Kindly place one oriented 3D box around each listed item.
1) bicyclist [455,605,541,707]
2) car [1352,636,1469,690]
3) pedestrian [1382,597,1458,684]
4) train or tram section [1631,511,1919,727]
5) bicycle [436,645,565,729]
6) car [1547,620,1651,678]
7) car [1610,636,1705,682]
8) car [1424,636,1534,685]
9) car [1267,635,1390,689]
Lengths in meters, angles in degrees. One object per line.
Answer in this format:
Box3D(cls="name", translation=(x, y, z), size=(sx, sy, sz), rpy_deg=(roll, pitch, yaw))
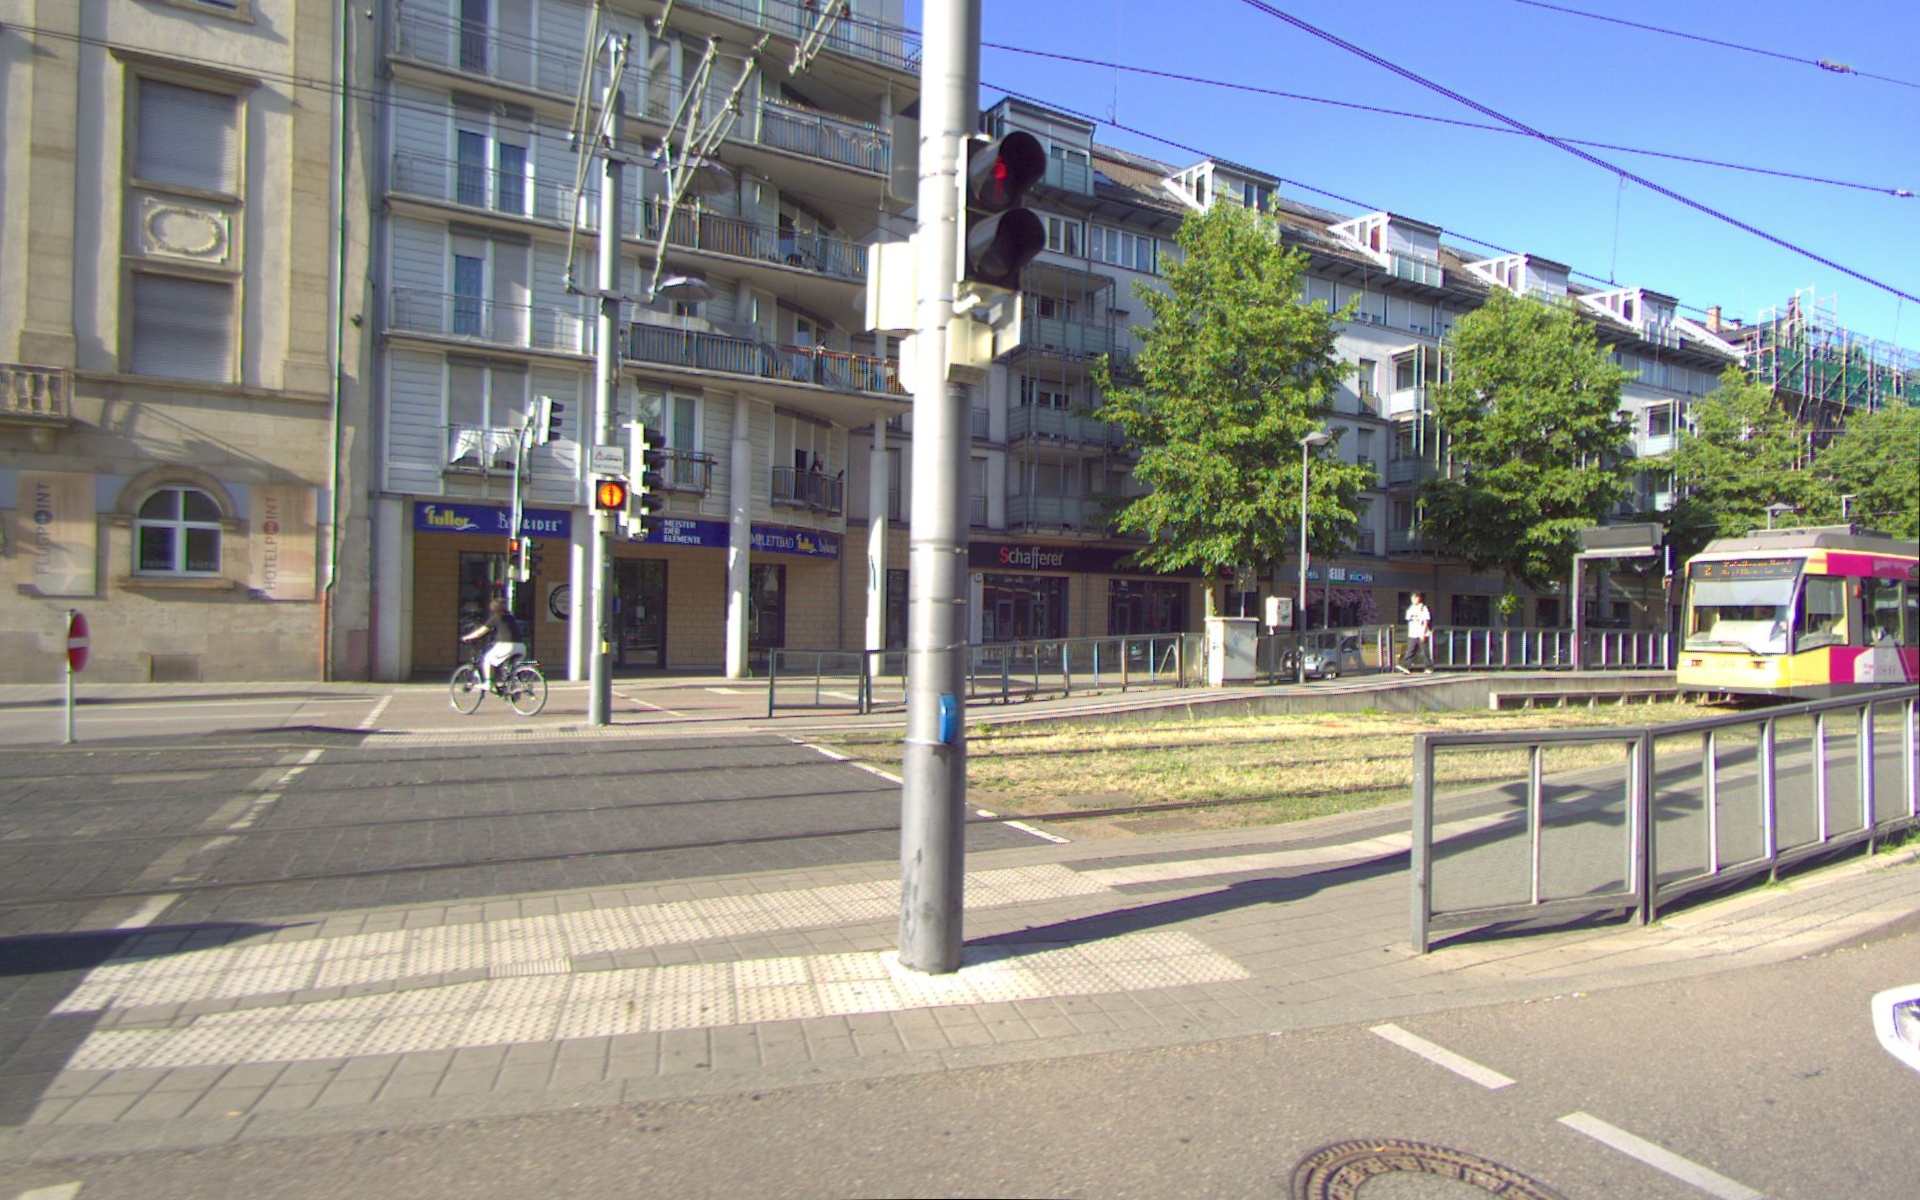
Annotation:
Box3D(cls="bicyclist", translation=(-6.616, 0.783, 14.390), size=(0.999, 1.390, 0.535), rpy_deg=(2, 0, 20))
Box3D(cls="car", translation=(15.871, 2.194, 35.386), size=(3.738, 1.699, 1.799), rpy_deg=(2, 1, -28))
Box3D(cls="pedestrian", translation=(8.874, 0.770, 19.381), size=(0.947, 1.602, 0.895), rpy_deg=(2, 1, -30))
Box3D(cls="train or tram section", translation=(20.274, 0.556, 21.927), size=(14.376, 3.724, 2.859), rpy_deg=(2, -1, -28))
Box3D(cls="bicycle", translation=(-6.573, 1.225, 14.361), size=(1.789, 1.068, 0.535), rpy_deg=(2, 0, 20))
Box3D(cls="car", translation=(25.954, 1.980, 40.774), size=(3.738, 2.195, 1.932), rpy_deg=(2, 1, -28))
Box3D(cls="car", translation=(29.674, 2.492, 42.732), size=(3.738, 1.752, 1.799), rpy_deg=(2, 1, -28))
Box3D(cls="car", translation=(19.261, 2.231, 37.251), size=(3.738, 1.657, 1.799), rpy_deg=(2, 1, -28))
Box3D(cls="car", translation=(12.255, 2.034, 33.401), size=(3.738, 1.599, 1.799), rpy_deg=(2, 1, -28))
